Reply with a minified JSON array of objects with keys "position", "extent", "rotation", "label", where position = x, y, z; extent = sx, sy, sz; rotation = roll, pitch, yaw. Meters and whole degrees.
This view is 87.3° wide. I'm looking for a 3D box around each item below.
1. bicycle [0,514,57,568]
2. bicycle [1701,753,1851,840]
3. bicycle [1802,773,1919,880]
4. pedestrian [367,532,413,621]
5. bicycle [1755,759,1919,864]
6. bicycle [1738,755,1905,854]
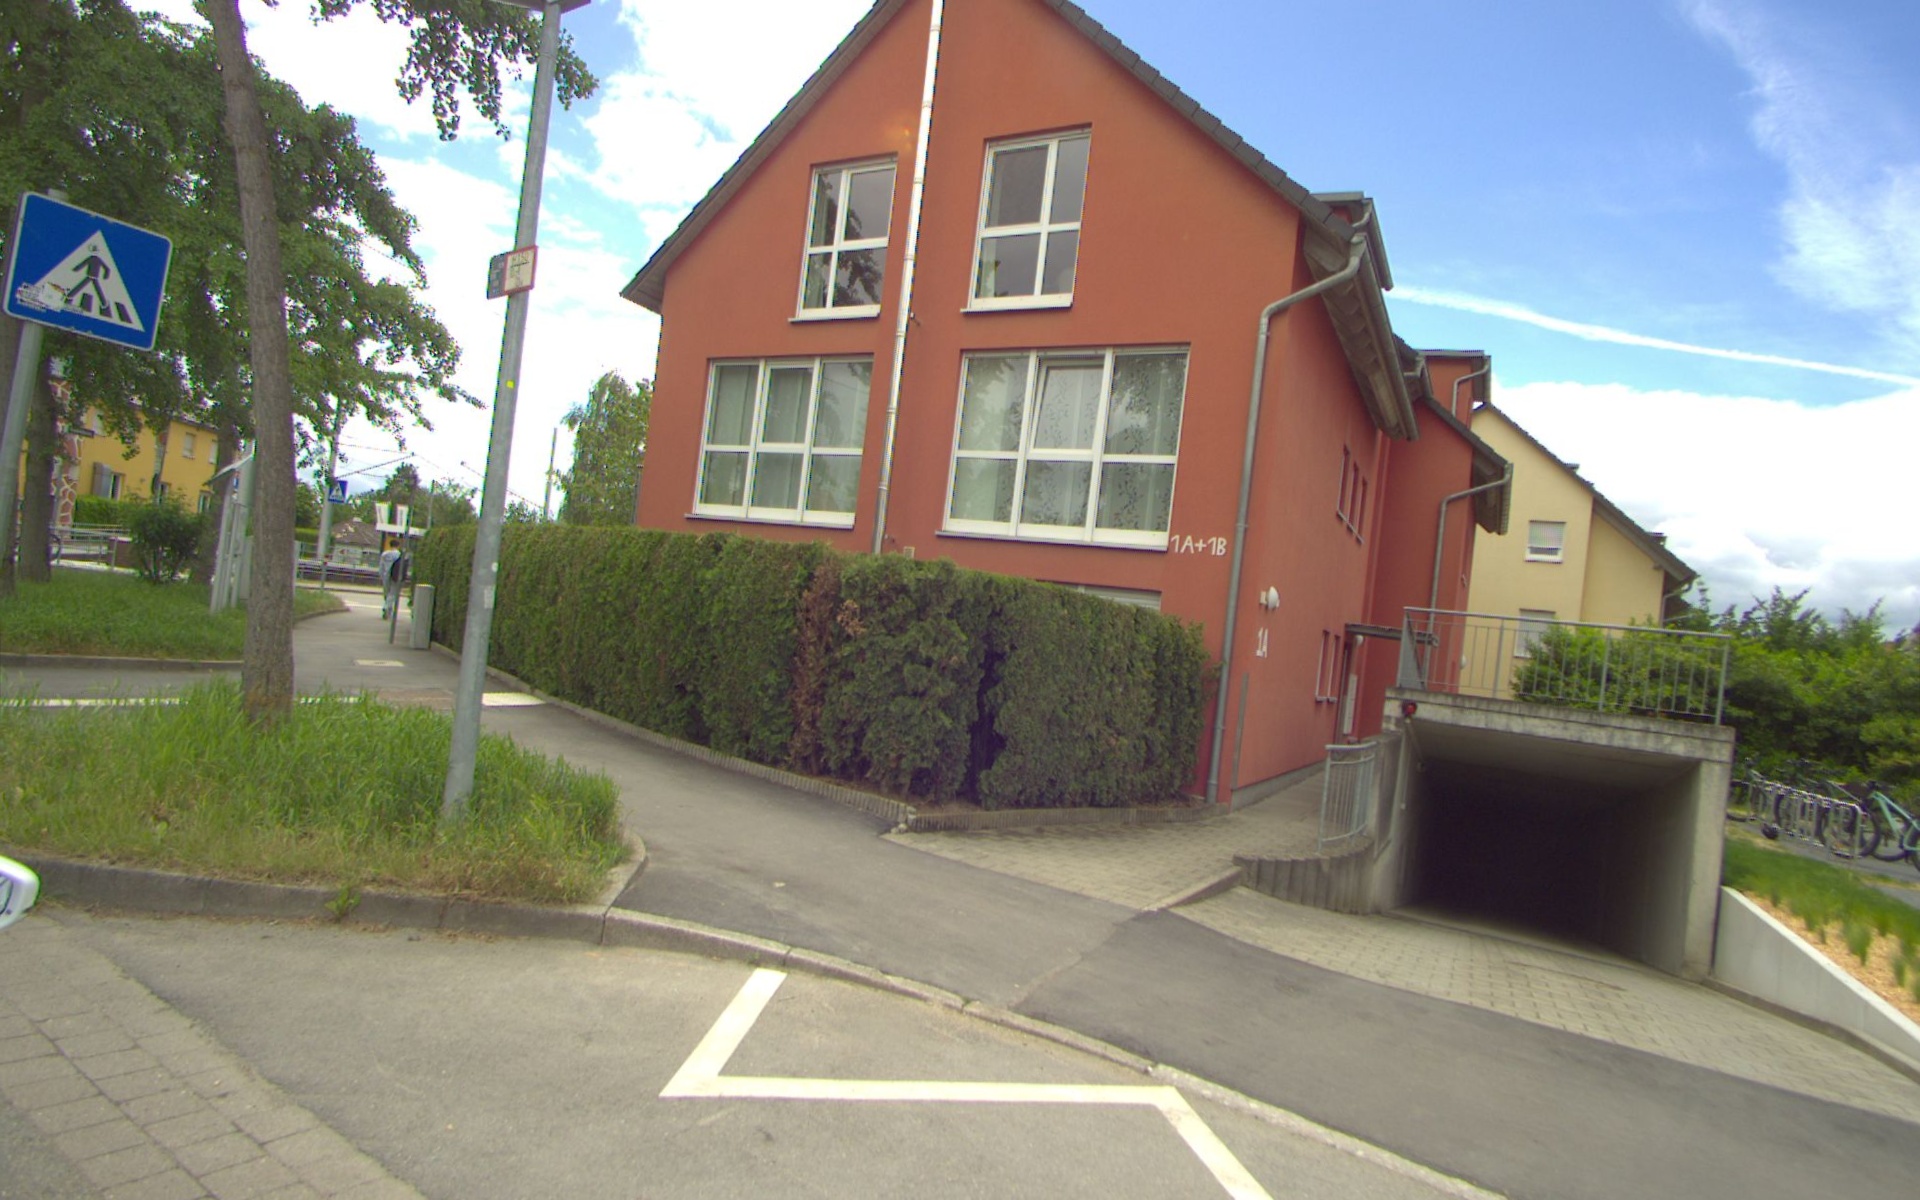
[{"position":[-23.110,-1.477,24.390],"extent":[0.458,1.169,1.692],"rotation":[6,-2,24],"label":"bicycle"},{"position":[13.524,3.235,16.743],"extent":[0.454,1.064,1.928],"rotation":[6,-1,-18],"label":"bicycle"},{"position":[11.595,2.834,12.457],"extent":[0.454,1.064,1.779],"rotation":[6,-1,-15],"label":"bicycle"},{"position":[-13.050,-0.536,23.062],"extent":[0.617,1.938,0.827],"rotation":[6,0,-21],"label":"pedestrian"},{"position":[12.443,2.968,14.308],"extent":[0.454,1.096,1.779],"rotation":[6,-1,-15],"label":"bicycle"},{"position":[13.202,3.105,15.498],"extent":[0.454,1.119,1.928],"rotation":[6,-1,-18],"label":"bicycle"}]
